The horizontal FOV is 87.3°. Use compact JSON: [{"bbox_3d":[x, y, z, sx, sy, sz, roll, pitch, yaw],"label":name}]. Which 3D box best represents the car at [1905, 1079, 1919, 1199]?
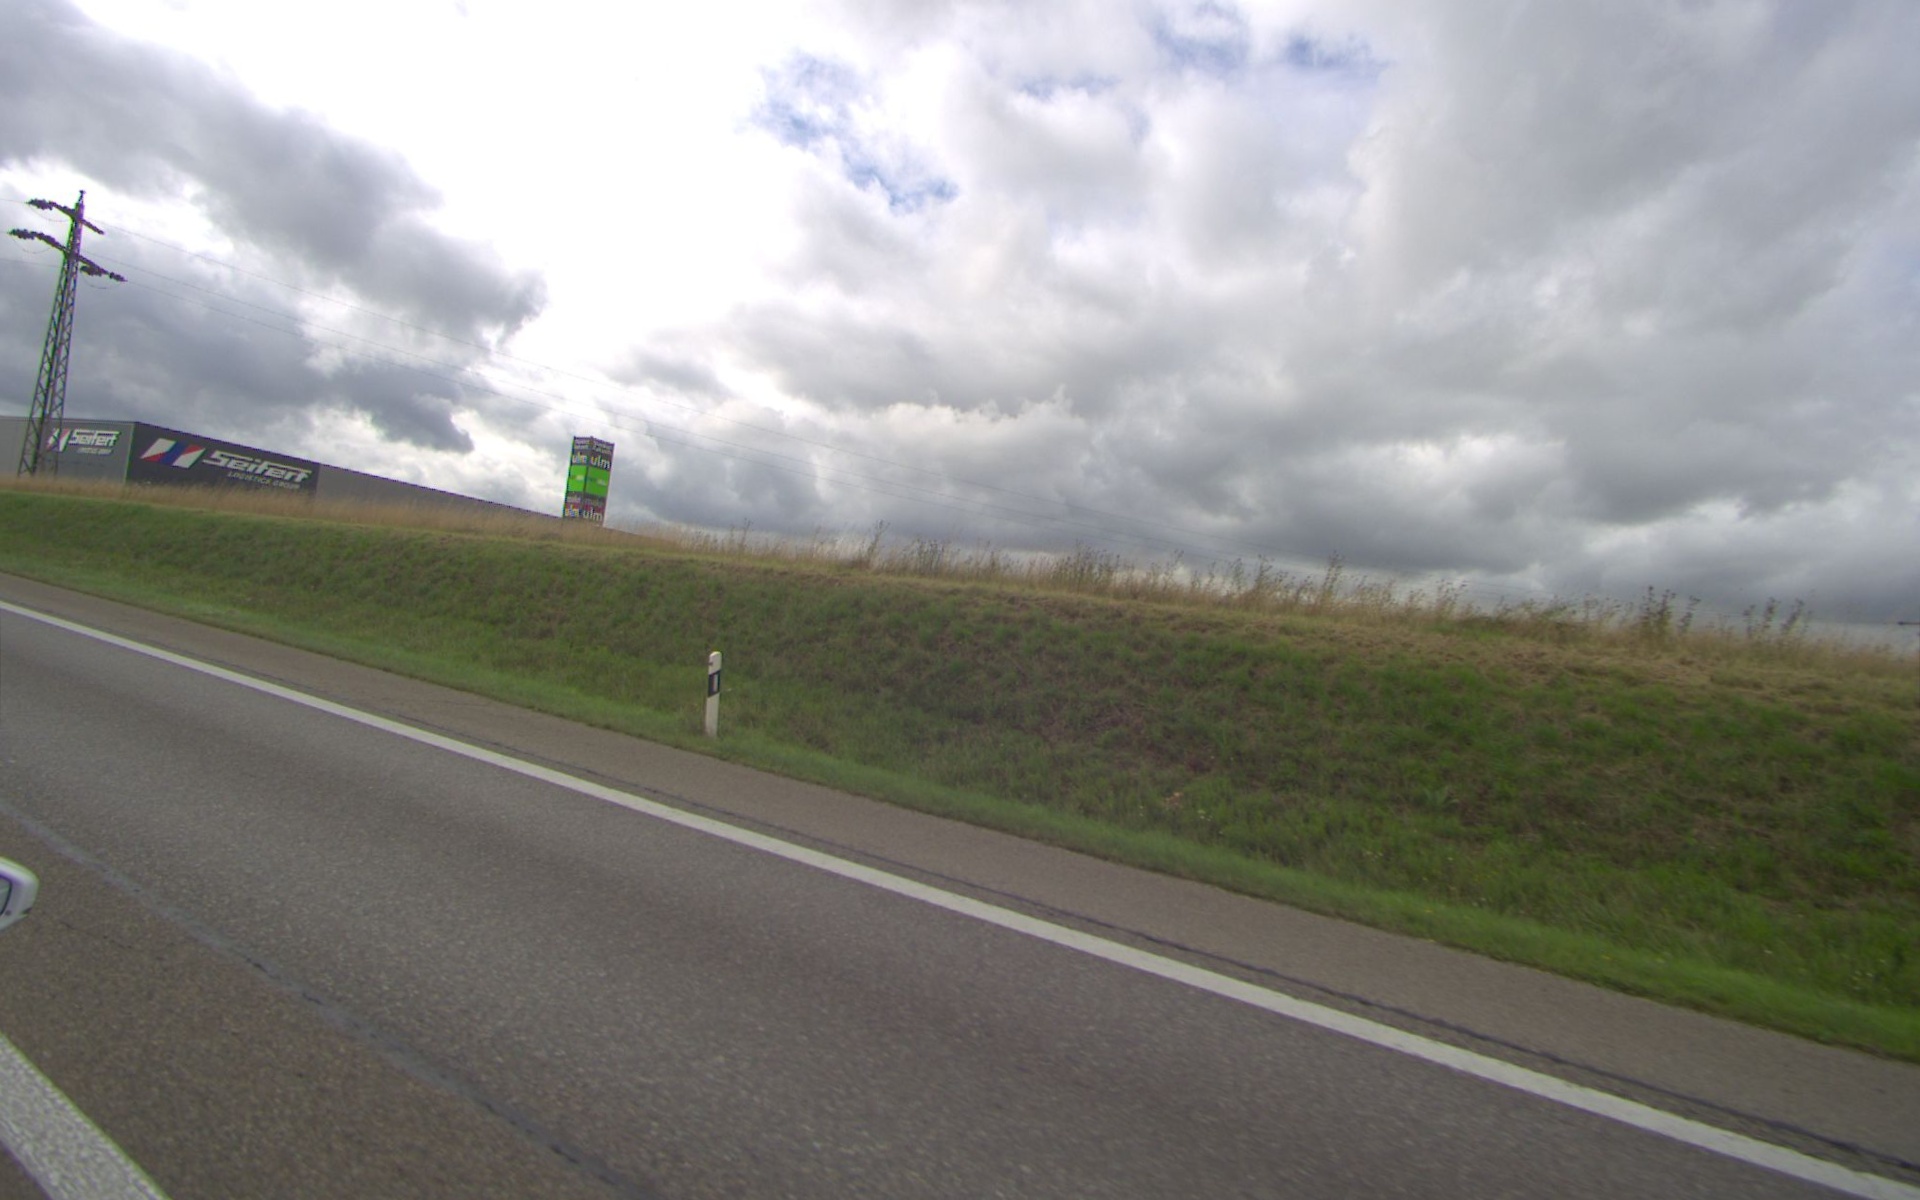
[{"bbox_3d":[4.455,1.292,1.303,4.288,1.628,1.836,7,-1,32],"label":"car"}]
